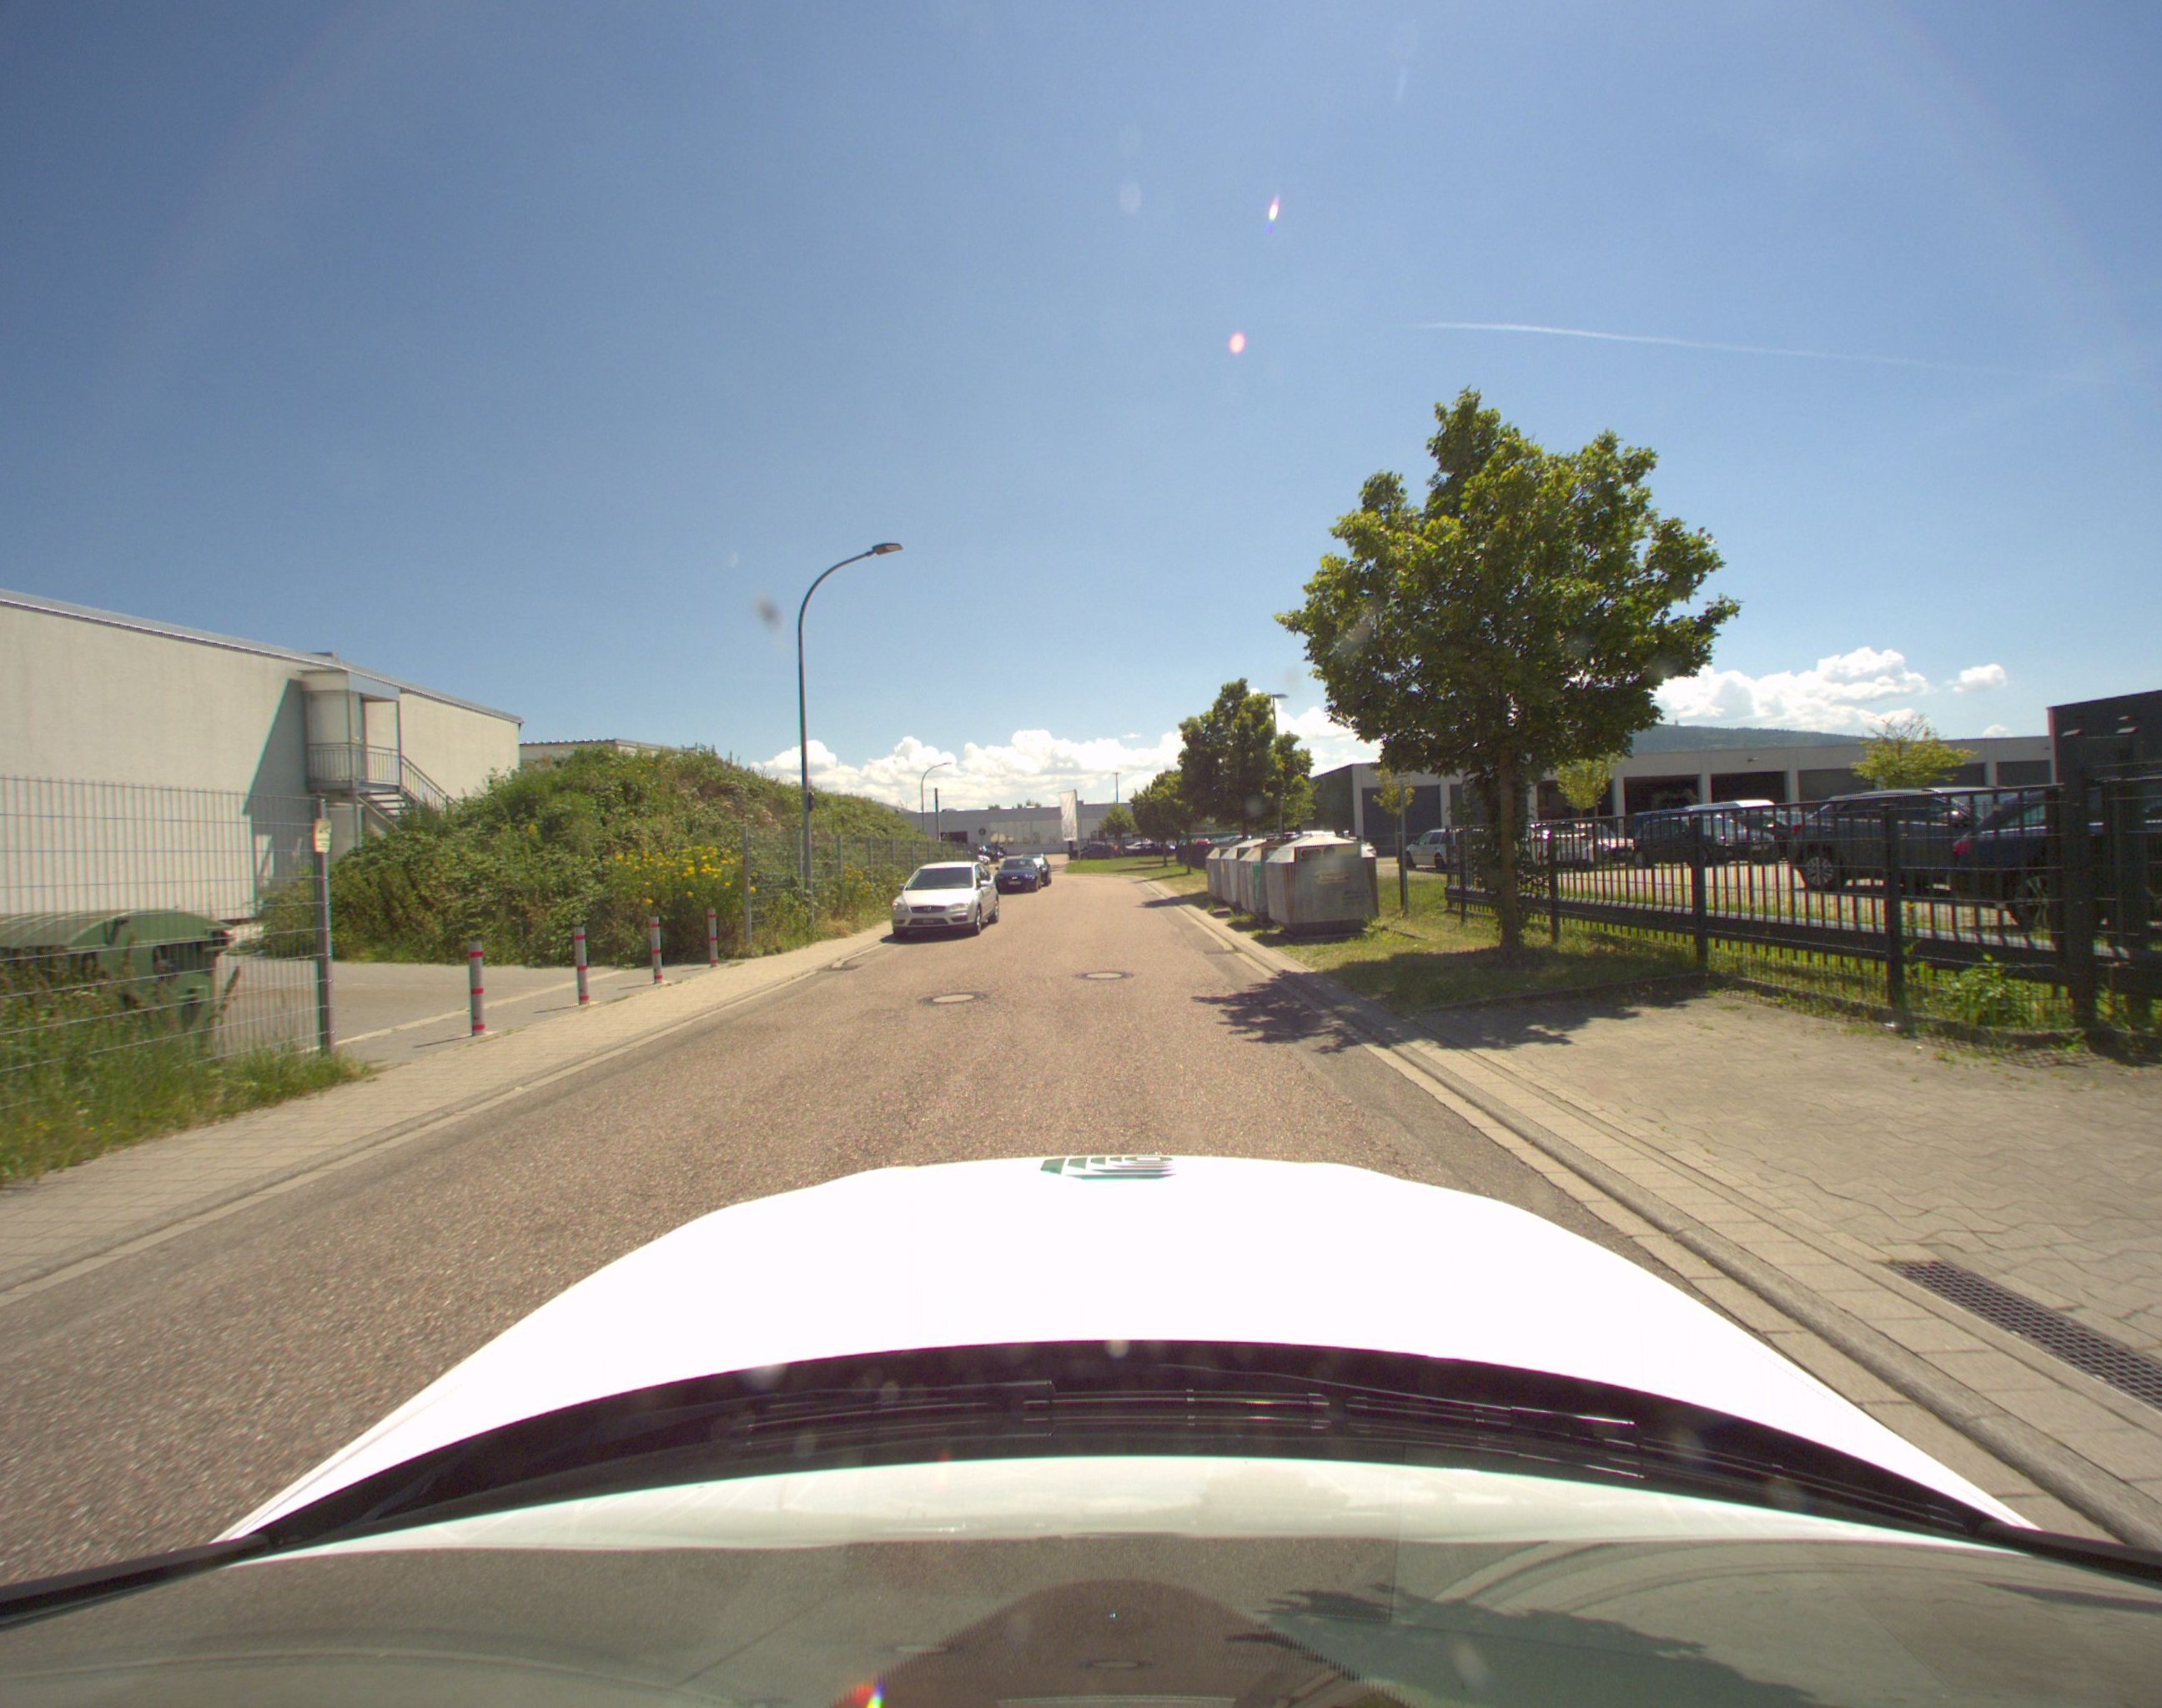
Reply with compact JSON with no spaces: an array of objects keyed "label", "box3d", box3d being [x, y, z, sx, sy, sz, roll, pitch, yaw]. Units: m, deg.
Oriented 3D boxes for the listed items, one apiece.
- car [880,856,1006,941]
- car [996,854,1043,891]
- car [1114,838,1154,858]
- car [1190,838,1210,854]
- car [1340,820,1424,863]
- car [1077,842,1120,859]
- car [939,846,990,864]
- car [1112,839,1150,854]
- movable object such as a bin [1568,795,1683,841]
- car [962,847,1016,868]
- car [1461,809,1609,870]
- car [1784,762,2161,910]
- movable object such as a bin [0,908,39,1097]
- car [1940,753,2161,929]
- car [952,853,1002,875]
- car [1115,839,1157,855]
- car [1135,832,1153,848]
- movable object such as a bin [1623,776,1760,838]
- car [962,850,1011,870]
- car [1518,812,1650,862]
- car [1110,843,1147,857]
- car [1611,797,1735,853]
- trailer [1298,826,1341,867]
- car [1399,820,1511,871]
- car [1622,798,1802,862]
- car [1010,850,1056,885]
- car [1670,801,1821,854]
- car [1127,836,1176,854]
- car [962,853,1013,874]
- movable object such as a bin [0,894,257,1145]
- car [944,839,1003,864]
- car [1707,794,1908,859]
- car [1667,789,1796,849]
[{"label":"car","box3d":[-2.872,0.865,17.915,1.827,1.546,4.369,-3,0,2]},{"label":"car","box3d":[-2.575,0.751,35.129,1.651,1.417,4.144,-3,0,0]},{"label":"car","box3d":[5.522,-0.610,85.433,3.975,1.827,1.999,-3,-2,-1]},{"label":"car","box3d":[15.913,-1.025,109.071,1.986,1.827,4.000,-3,-2,1]},{"label":"car","box3d":[13.103,-0.496,35.748,1.875,1.523,4.465,-3,-2,-1]},{"label":"car","box3d":[1.621,-0.312,77.360,3.975,1.398,1.999,-3,-2,-1]},{"label":"car","box3d":[-10.922,0.104,76.772,4.424,1.398,1.999,-3,-2,-1]},{"label":"car","box3d":[5.351,-0.770,87.525,3.975,1.398,1.999,-3,-2,-1]},{"label":"movable object such as a bin","box3d":[39.999,-2.563,60.226,3.529,2.994,7.318,-3,0,0]},{"label":"car","box3d":[-8.007,0.336,71.439,4.424,1.626,1.999,-3,-2,-1]},{"label":"car","box3d":[12.641,-0.336,23.031,1.784,1.433,4.141,-3,-2,-1]},{"label":"car","box3d":[12.379,-0.307,11.168,1.784,1.622,4.241,-3,2,-1]},{"label":"movable object such as a bin","box3d":[-9.222,1.175,5.775,1.344,1.465,1.767,1,0,2]},{"label":"car","box3d":[9.857,-0.165,6.243,1.784,1.455,4.407,-3,-2,-1]},{"label":"car","box3d":[-10.398,0.957,81.554,4.571,1.922,2.000,-3,0,0]},{"label":"car","box3d":[5.507,-0.673,81.824,3.975,1.398,1.999,-3,-2,-1]},{"label":"car","box3d":[7.944,-1.769,103.584,1.986,1.827,4.000,-3,-2,1]},{"label":"movable object such as a bin","box3d":[44.797,-3.311,60.248,3.529,3.974,8.666,-3,0,0]},{"label":"car","box3d":[-10.226,0.669,88.402,4.867,1.922,2.000,-3,0,0]},{"label":"car","box3d":[17.203,-0.609,28.143,1.784,1.481,4.421,-3,2,-1]},{"label":"car","box3d":[5.238,-0.434,90.945,3.975,1.398,1.999,-3,-2,-1]},{"label":"car","box3d":[29.660,-1.367,41.103,1.875,2.263,5.652,-3,-2,-1]},{"label":"trailer","box3d":[12.936,-0.437,44.336,1.487,2.006,3.267,-3,3,3]},{"label":"car","box3d":[12.794,-0.344,28.173,1.784,1.531,4.421,-3,2,-1]},{"label":"car","box3d":[17.425,-0.590,22.781,1.784,1.462,4.098,-3,-2,-1]},{"label":"car","box3d":[-2.321,0.635,40.270,1.827,1.546,4.266,-3,0,2]},{"label":"car","box3d":[22.808,-0.853,28.175,1.784,1.462,4.098,-3,-2,-1]},{"label":"car","box3d":[6.665,-0.816,77.226,4.424,1.398,1.999,-3,-2,-1]},{"label":"car","box3d":[-9.675,0.961,84.345,4.867,1.922,2.000,-3,0,0]},{"label":"movable object such as a bin","box3d":[-7.332,1.088,5.639,1.298,1.477,1.840,-2,0,2]},{"label":"car","box3d":[-10.432,-0.227,79.075,5.300,2.097,2.000,-3,0,0]},{"label":"car","box3d":[19.809,-0.673,22.477,1.784,1.462,4.098,-3,-2,-1]},{"label":"car","box3d":[32.647,-1.672,41.139,1.875,2.478,5.501,-3,-2,-1]}]
